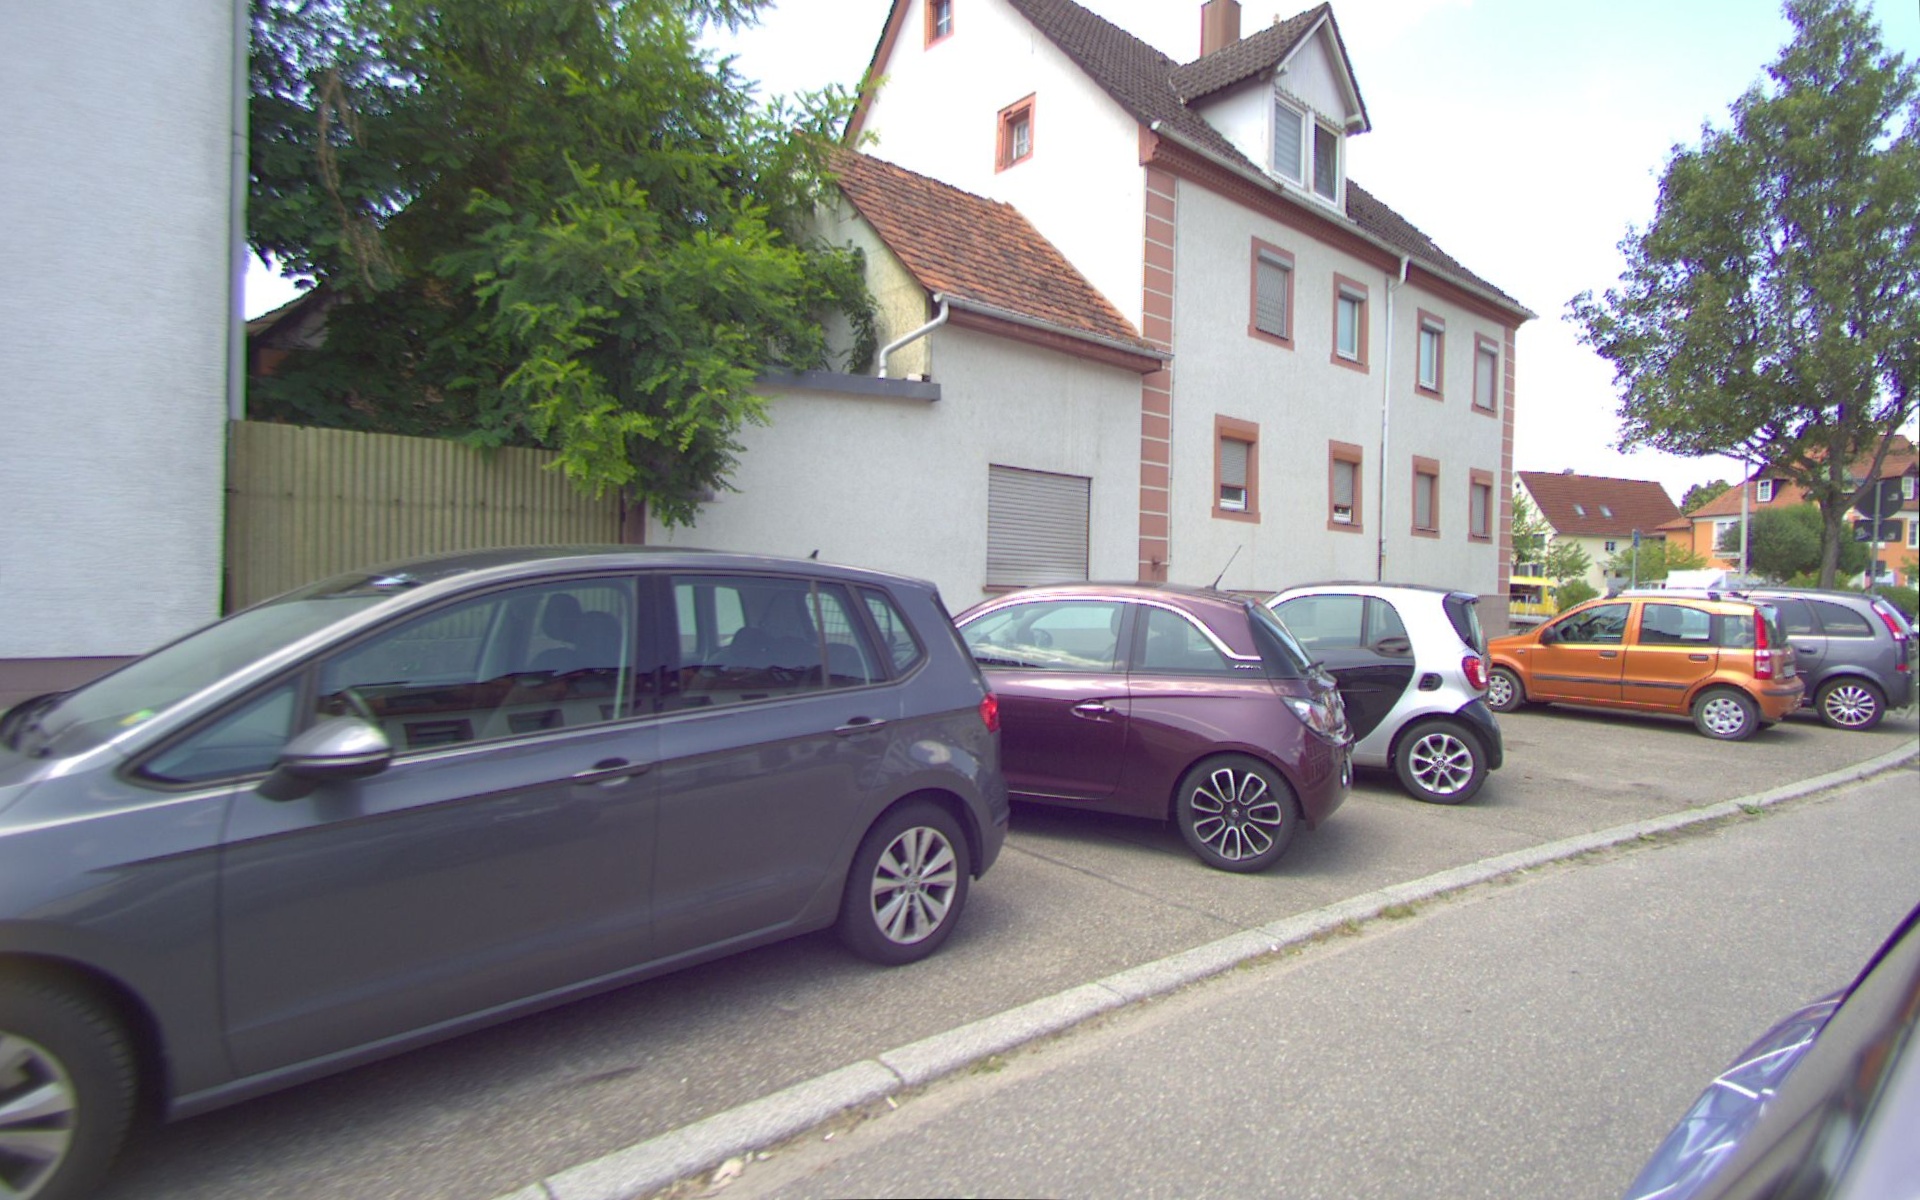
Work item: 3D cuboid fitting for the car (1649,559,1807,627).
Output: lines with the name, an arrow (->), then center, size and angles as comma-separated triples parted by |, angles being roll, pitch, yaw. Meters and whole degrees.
car -> 35.956, -0.359, 47.351 | 6.965, 2.999, 2.767 | 0, 2, -23

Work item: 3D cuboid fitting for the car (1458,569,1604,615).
car -> 33.240, -0.497, 59.131 | 6.843, 2.508, 2.650 | 1, 1, 6

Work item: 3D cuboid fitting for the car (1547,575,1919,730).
car -> 10.045, 0.547, 13.109 | 1.820, 1.596, 3.853 | 0, 3, -44

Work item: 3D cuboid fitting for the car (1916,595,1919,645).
car -> 31.013, 0.624, 31.086 | 4.339, 1.583, 1.774 | 0, 3, -39

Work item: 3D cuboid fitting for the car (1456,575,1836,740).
car -> 8.004, 0.542, 12.018 | 1.696, 1.597, 3.384 | 0, 2, -40

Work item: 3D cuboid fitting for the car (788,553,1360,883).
car -> 0.775, 0.539, 6.419 | 3.201, 1.523, 1.812 | 3, 2, 23

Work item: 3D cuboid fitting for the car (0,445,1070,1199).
car -> -1.646, 0.484, 3.506 | 4.199, 1.644, 1.665 | 0, 1, -42

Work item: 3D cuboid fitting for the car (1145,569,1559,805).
car -> 3.083, 0.543, 8.114 | 2.760, 1.523, 1.861 | 1, 1, 26
